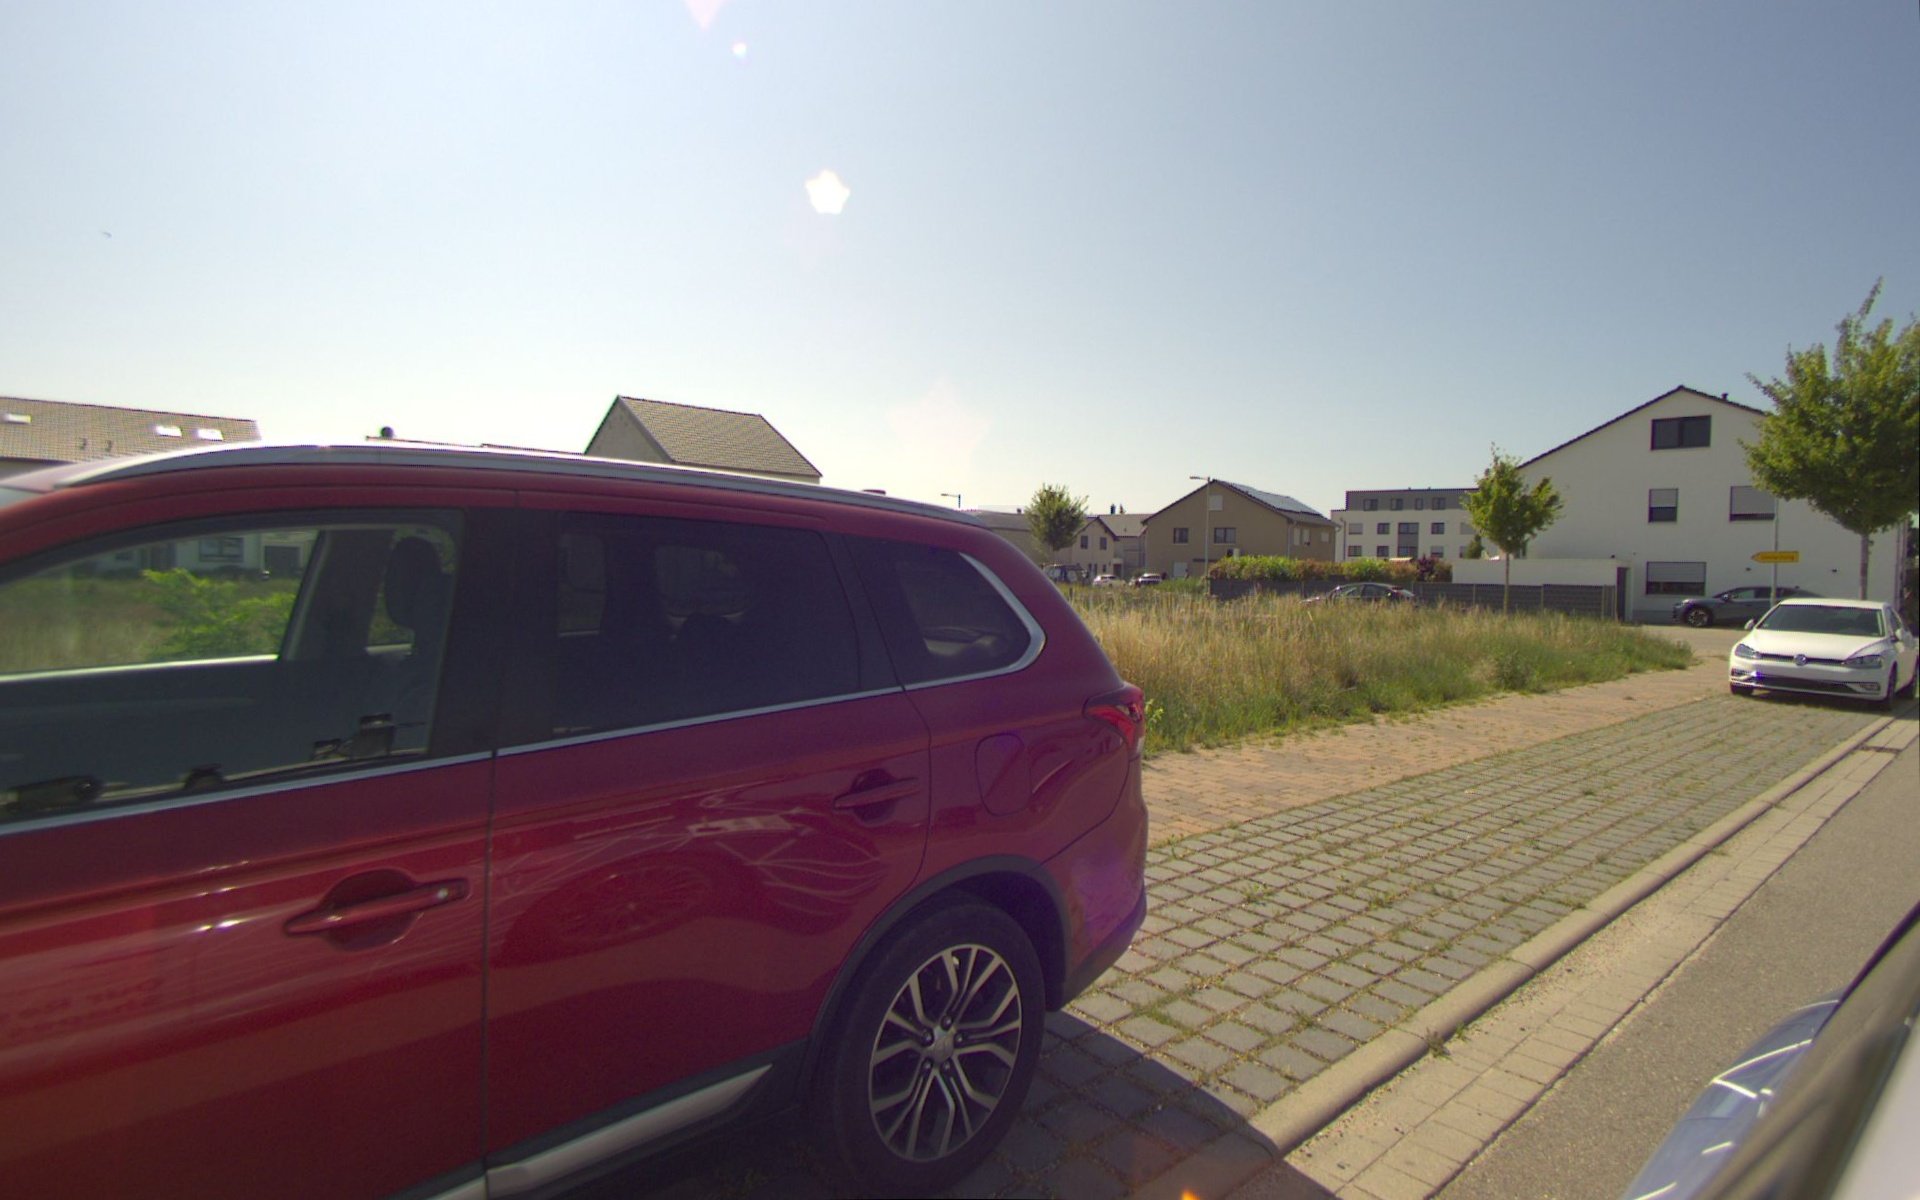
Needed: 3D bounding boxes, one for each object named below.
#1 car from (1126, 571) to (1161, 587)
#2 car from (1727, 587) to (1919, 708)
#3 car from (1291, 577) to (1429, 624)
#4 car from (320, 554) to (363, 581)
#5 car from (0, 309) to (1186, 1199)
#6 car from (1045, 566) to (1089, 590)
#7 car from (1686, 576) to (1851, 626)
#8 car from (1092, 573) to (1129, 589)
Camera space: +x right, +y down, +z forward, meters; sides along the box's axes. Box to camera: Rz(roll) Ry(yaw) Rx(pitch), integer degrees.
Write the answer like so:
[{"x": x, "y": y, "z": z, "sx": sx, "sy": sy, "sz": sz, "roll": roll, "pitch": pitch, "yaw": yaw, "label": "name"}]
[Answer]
[{"x": 17.924, "y": -2.071, "z": 98.727, "sx": 1.742, "sy": 1.521, "sz": 3.944, "roll": 2, "pitch": 2, "yaw": 39, "label": "car"}, {"x": 12.874, "y": 0.595, "z": 14.833, "sx": 4.093, "sy": 1.437, "sz": 1.779, "roll": 0, "pitch": 3, "yaw": -42, "label": "car"}, {"x": 14.053, "y": -0.026, "z": 35.679, "sx": 4.178, "sy": 1.512, "sz": 1.822, "roll": 1, "pitch": 2, "yaw": 42, "label": "car"}, {"x": -36.999, "y": -1.946, "z": 60.526, "sx": 1.782, "sy": 1.531, "sz": 3.998, "roll": 0, "pitch": 2, "yaw": -38, "label": "car"}, {"x": -1.578, "y": 0.446, "z": 2.073, "sx": 4.358, "sy": 1.683, "sz": 1.780, "roll": 0, "pitch": 3, "yaw": -43, "label": "car"}, {"x": 9.343, "y": -1.933, "z": 88.463, "sx": 1.991, "sy": 2.038, "sz": 3.944, "roll": 2, "pitch": 2, "yaw": 39, "label": "car"}, {"x": 28.458, "y": 0.004, "z": 35.713, "sx": 1.927, "sy": 1.577, "sz": 4.341, "roll": 0, "pitch": 1, "yaw": -43, "label": "car"}, {"x": 13.938, "y": -1.753, "z": 93.851, "sx": 1.660, "sy": 1.418, "sz": 3.865, "roll": 2, "pitch": 2, "yaw": 39, "label": "car"}]
